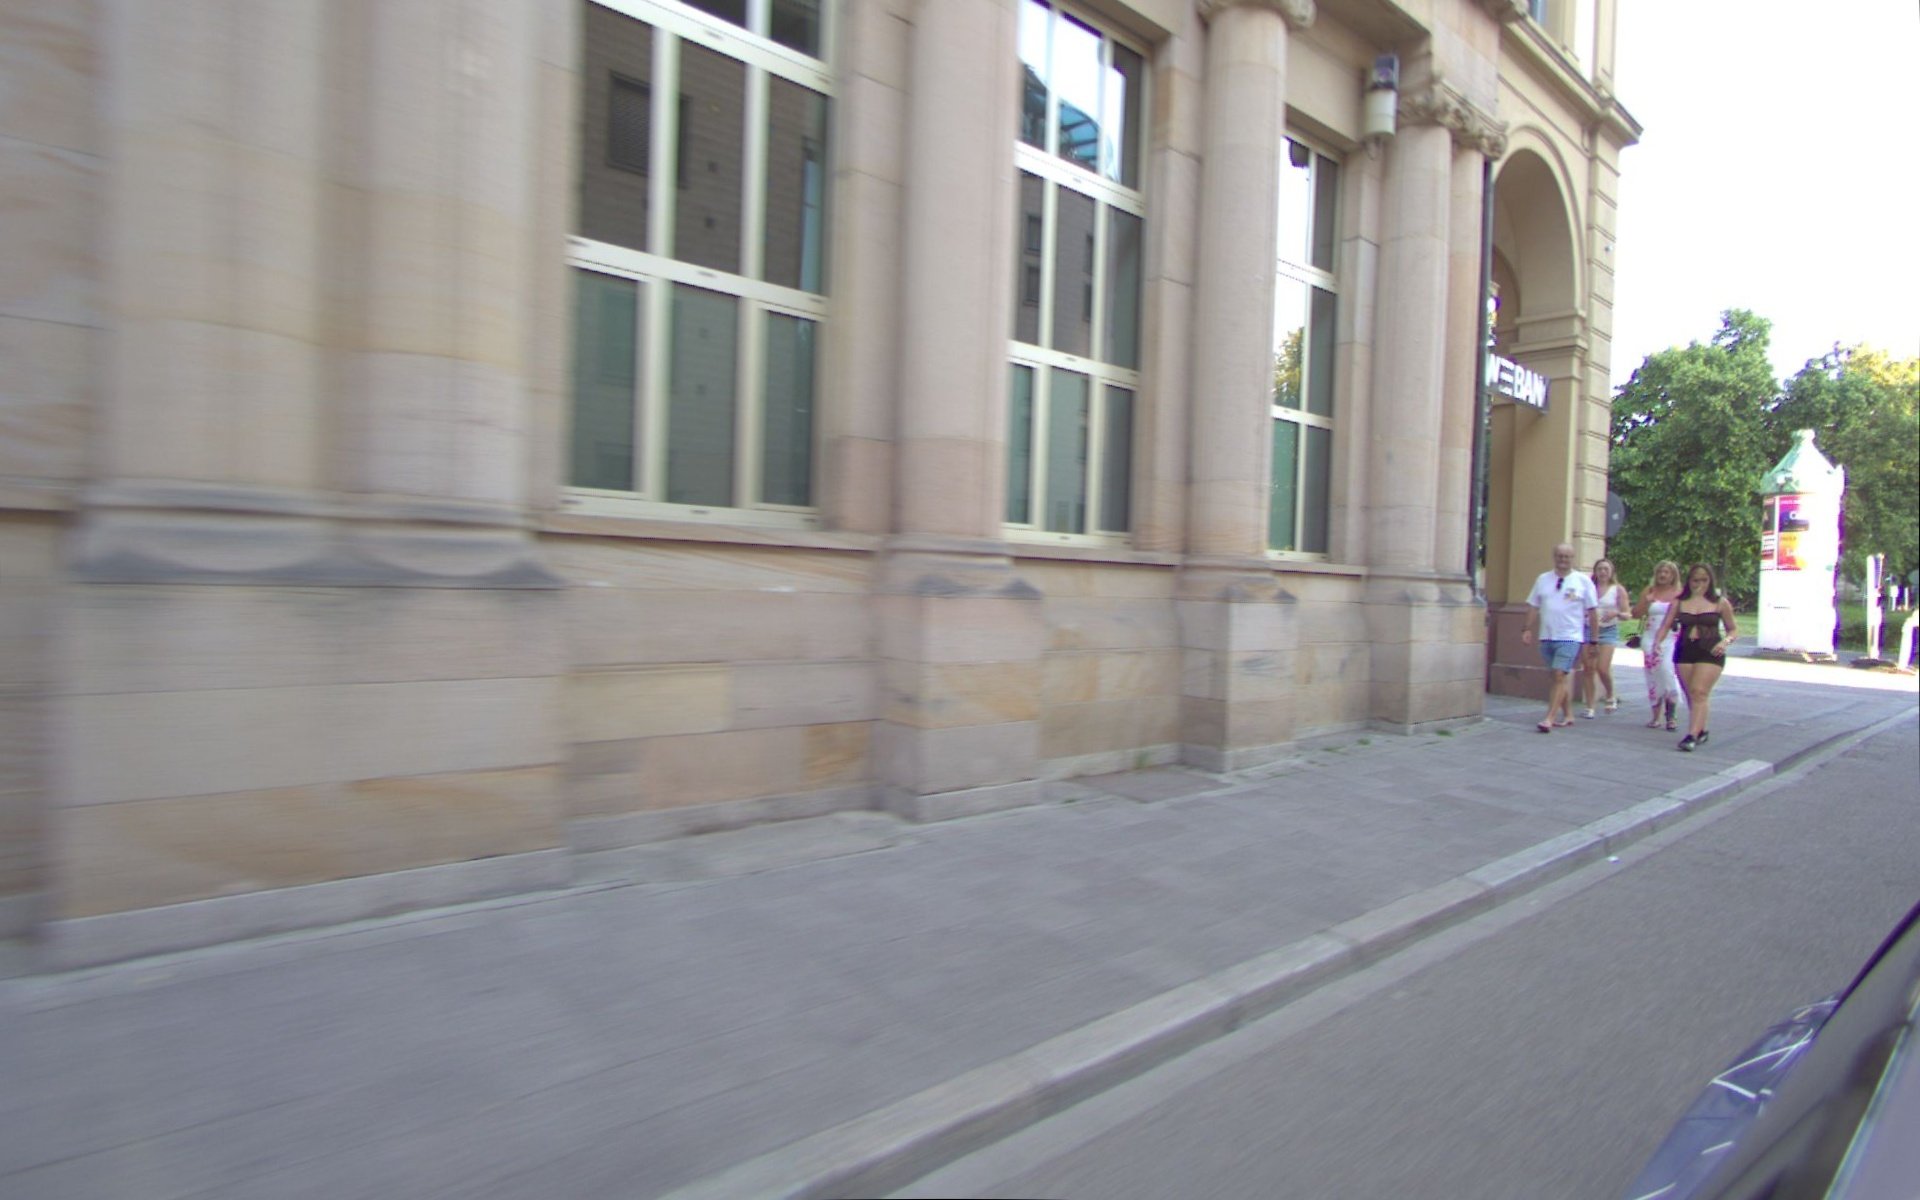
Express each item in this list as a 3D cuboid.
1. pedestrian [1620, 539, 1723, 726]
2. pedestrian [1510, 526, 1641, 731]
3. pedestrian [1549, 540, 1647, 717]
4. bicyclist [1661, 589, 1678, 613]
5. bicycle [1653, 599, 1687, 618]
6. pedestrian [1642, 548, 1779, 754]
[{"bbox_3d":[7.310,0.307,10.394,0.758,1.825,0.638,1,2,-41],"label":"pedestrian"},{"bbox_3d":[6.064,0.249,9.972,0.860,1.898,0.813,1,2,-41],"label":"pedestrian"},{"bbox_3d":[6.878,0.283,10.903,0.758,1.825,0.638,1,2,-41],"label":"pedestrian"},{"bbox_3d":[48.727,0.064,69.502,0.668,1.652,0.656,2,1,16],"label":"bicyclist"},{"bbox_3d":[48.744,0.590,69.501,1.750,1.191,0.563,2,1,16],"label":"bicycle"},{"bbox_3d":[6.894,0.425,9.297,0.860,1.768,0.777,1,2,-41],"label":"pedestrian"}]
